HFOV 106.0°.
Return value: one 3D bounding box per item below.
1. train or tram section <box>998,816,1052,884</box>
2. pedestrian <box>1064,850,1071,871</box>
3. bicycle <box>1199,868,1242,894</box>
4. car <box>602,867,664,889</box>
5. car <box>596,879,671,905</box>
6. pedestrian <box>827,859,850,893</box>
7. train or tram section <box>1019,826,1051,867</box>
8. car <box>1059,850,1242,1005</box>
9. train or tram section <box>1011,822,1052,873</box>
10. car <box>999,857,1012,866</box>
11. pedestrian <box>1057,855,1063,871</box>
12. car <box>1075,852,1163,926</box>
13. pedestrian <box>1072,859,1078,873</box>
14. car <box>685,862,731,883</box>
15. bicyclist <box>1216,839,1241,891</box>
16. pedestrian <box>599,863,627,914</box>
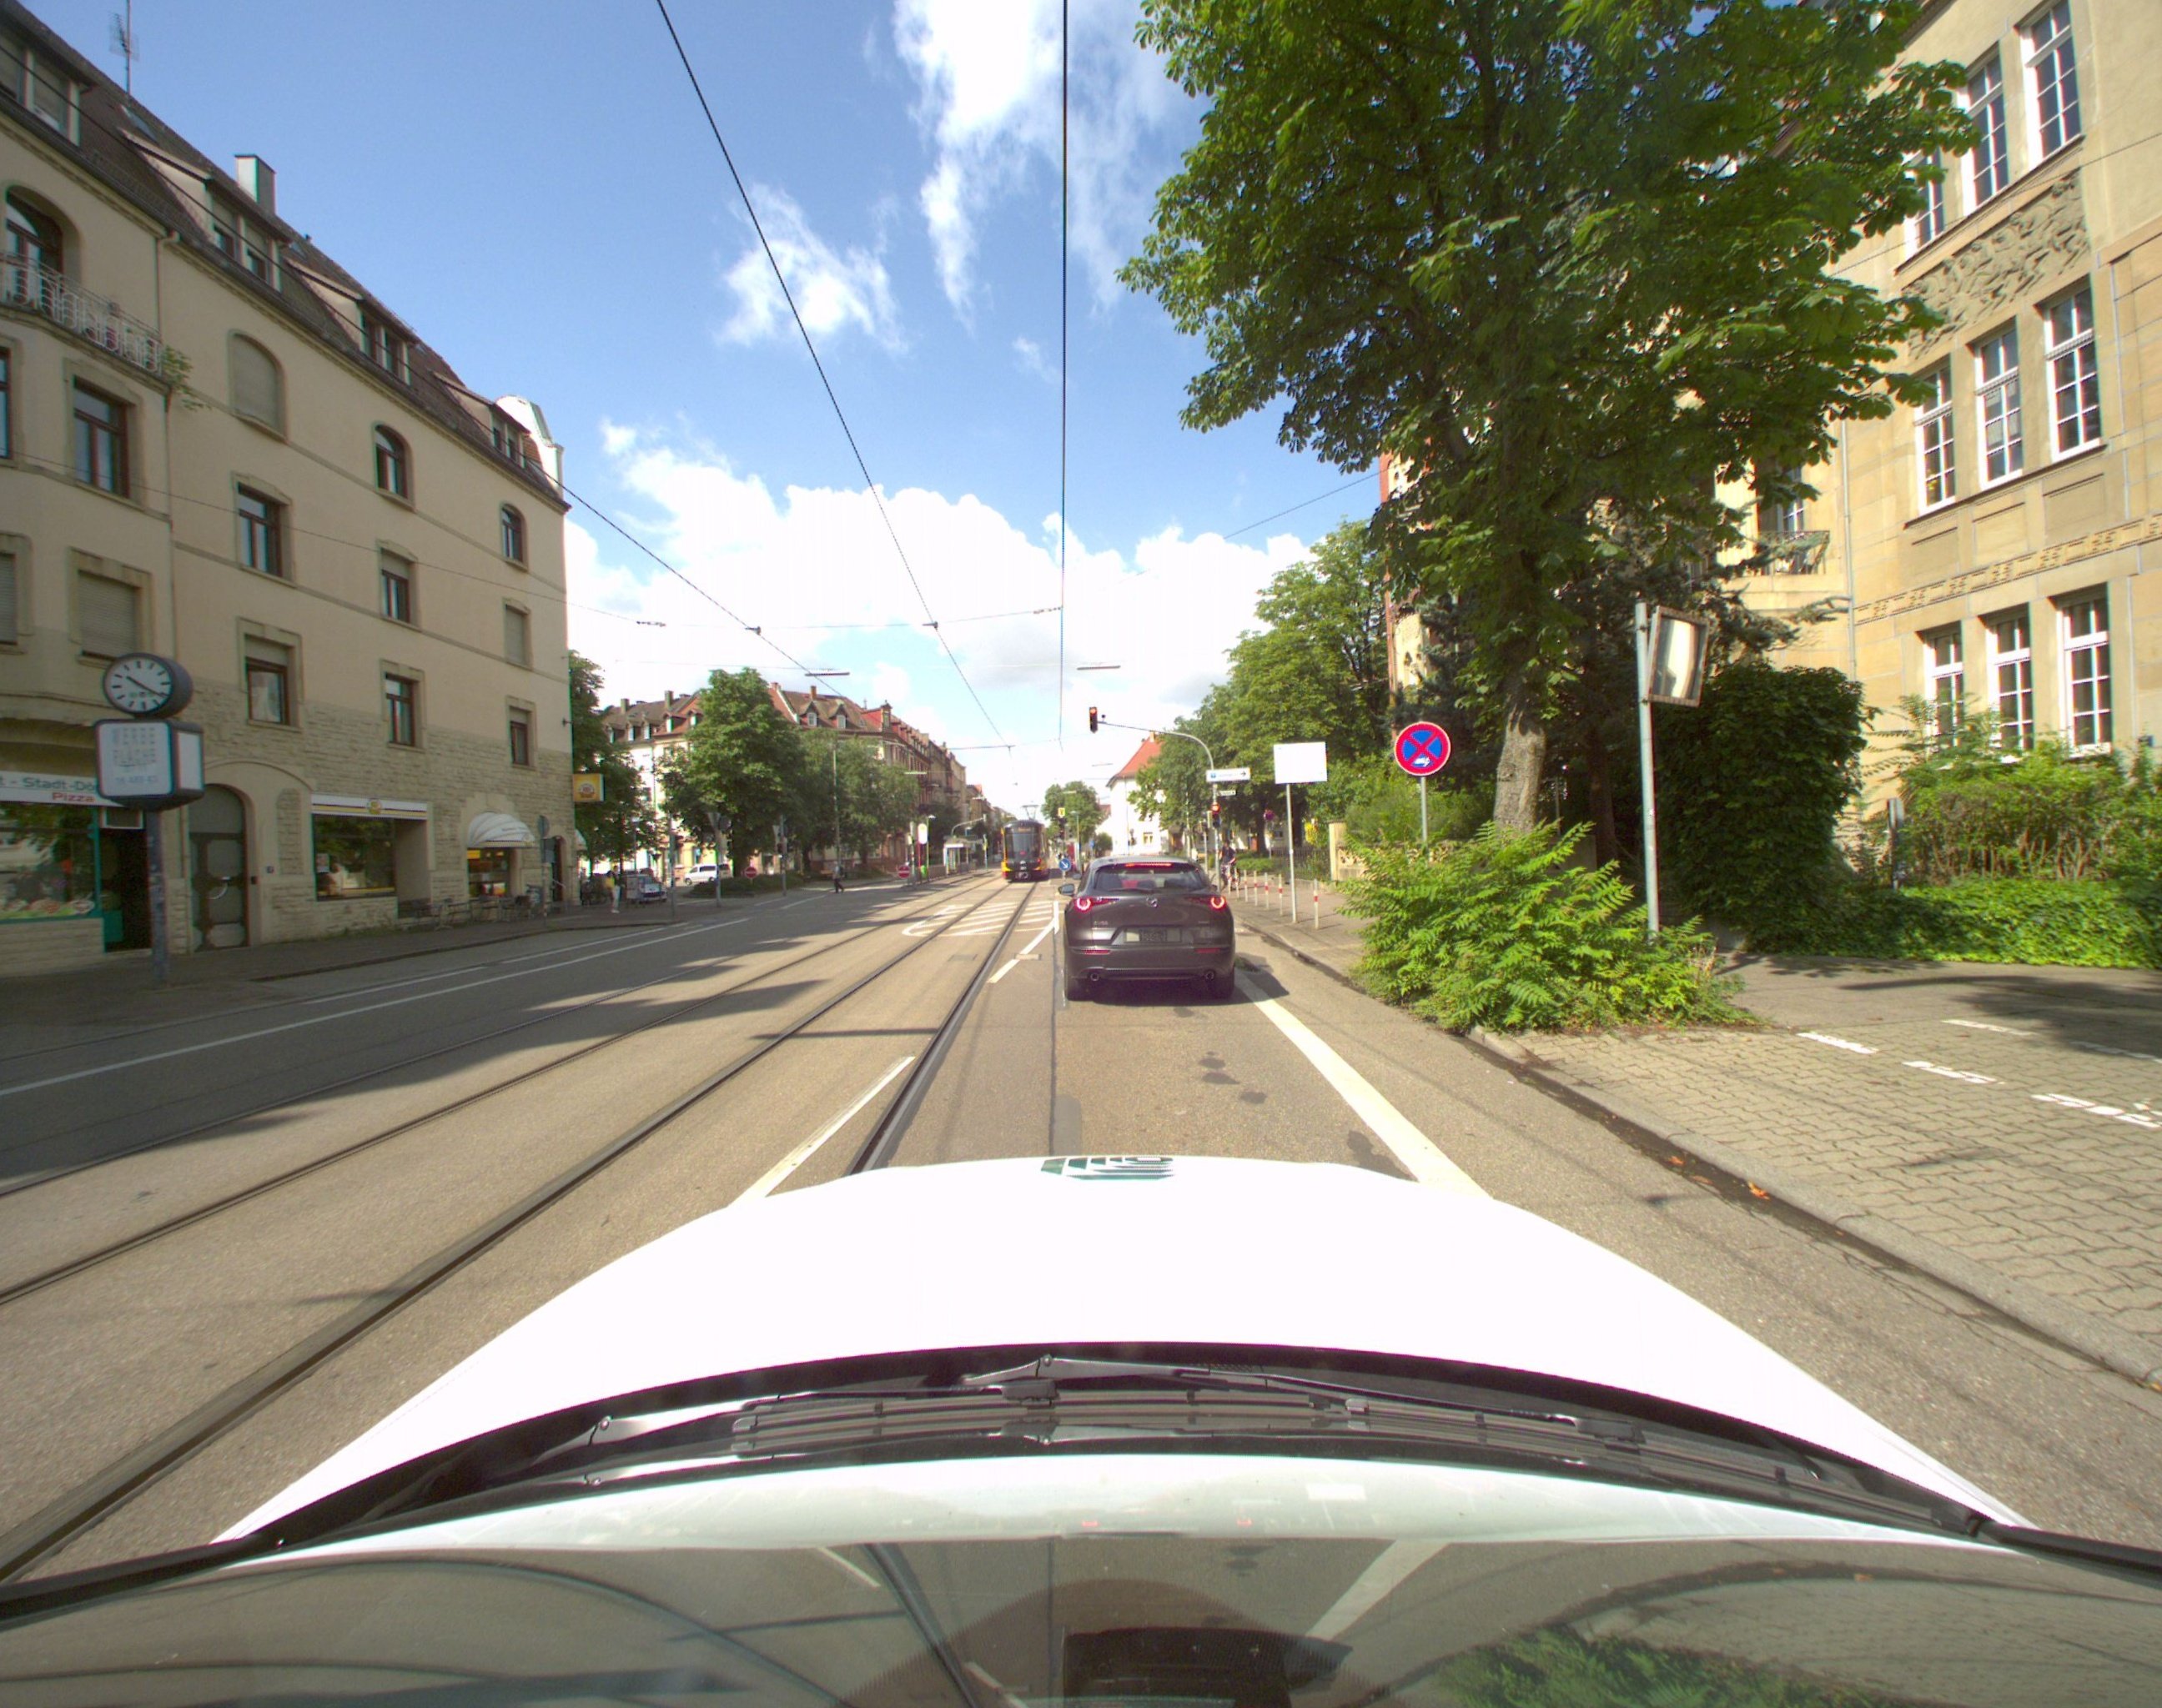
[{"bbox_3d":[-3.274,-0.333,50.932,2.746,3.490,14.396,-3,1,-2],"label":"train or tram section"},{"bbox_3d":[-0.949,0.449,57.116,0.449,1.434,0.474,-2,0,-3],"label":"pedestrian"},{"bbox_3d":[4.958,0.941,28.978,1.708,0.824,0.488,-2,0,-40],"label":"bicycle"},{"bbox_3d":[-37.366,2.018,67.961,3.972,1.596,2.001,-3,0,2],"label":"car"},{"bbox_3d":[-22.310,1.903,40.592,3.948,1.182,1.689,-2,0,35],"label":"car"},{"bbox_3d":[-12.727,1.146,42.795,0.813,1.705,0.724,-2,0,33],"label":"pedestrian"},{"bbox_3d":[-4.356,-0.803,79.699,2.746,3.490,14.396,-3,1,-2],"label":"train or tram section"},{"bbox_3d":[0.727,0.710,9.932,1.772,1.499,4.001,0,0,1],"label":"car"},{"bbox_3d":[-3.816,-0.570,65.316,2.746,3.490,14.396,-3,1,-2],"label":"train or tram section"},{"bbox_3d":[-11.499,1.108,124.022,1.610,1.310,3.625,-2,0,-2],"label":"car"},{"bbox_3d":[-1.481,0.633,57.055,0.379,1.071,0.474,-2,0,-3],"label":"pedestrian"},{"bbox_3d":[0.827,0.708,18.579,1.772,1.499,4.001,0,0,1],"label":"car"},{"bbox_3d":[-0.414,0.827,57.283,0.379,0.984,0.474,-2,0,-3],"label":"pedestrian"},{"bbox_3d":[-36.825,1.810,80.398,3.950,1.903,2.012,-2,0,26],"label":"car"},{"bbox_3d":[5.163,0.378,28.569,0.608,1.793,0.656,-2,0,-8],"label":"bicyclist"},{"bbox_3d":[-16.730,1.209,29.118,0.685,1.754,0.796,-2,0,-20],"label":"pedestrian"}]
